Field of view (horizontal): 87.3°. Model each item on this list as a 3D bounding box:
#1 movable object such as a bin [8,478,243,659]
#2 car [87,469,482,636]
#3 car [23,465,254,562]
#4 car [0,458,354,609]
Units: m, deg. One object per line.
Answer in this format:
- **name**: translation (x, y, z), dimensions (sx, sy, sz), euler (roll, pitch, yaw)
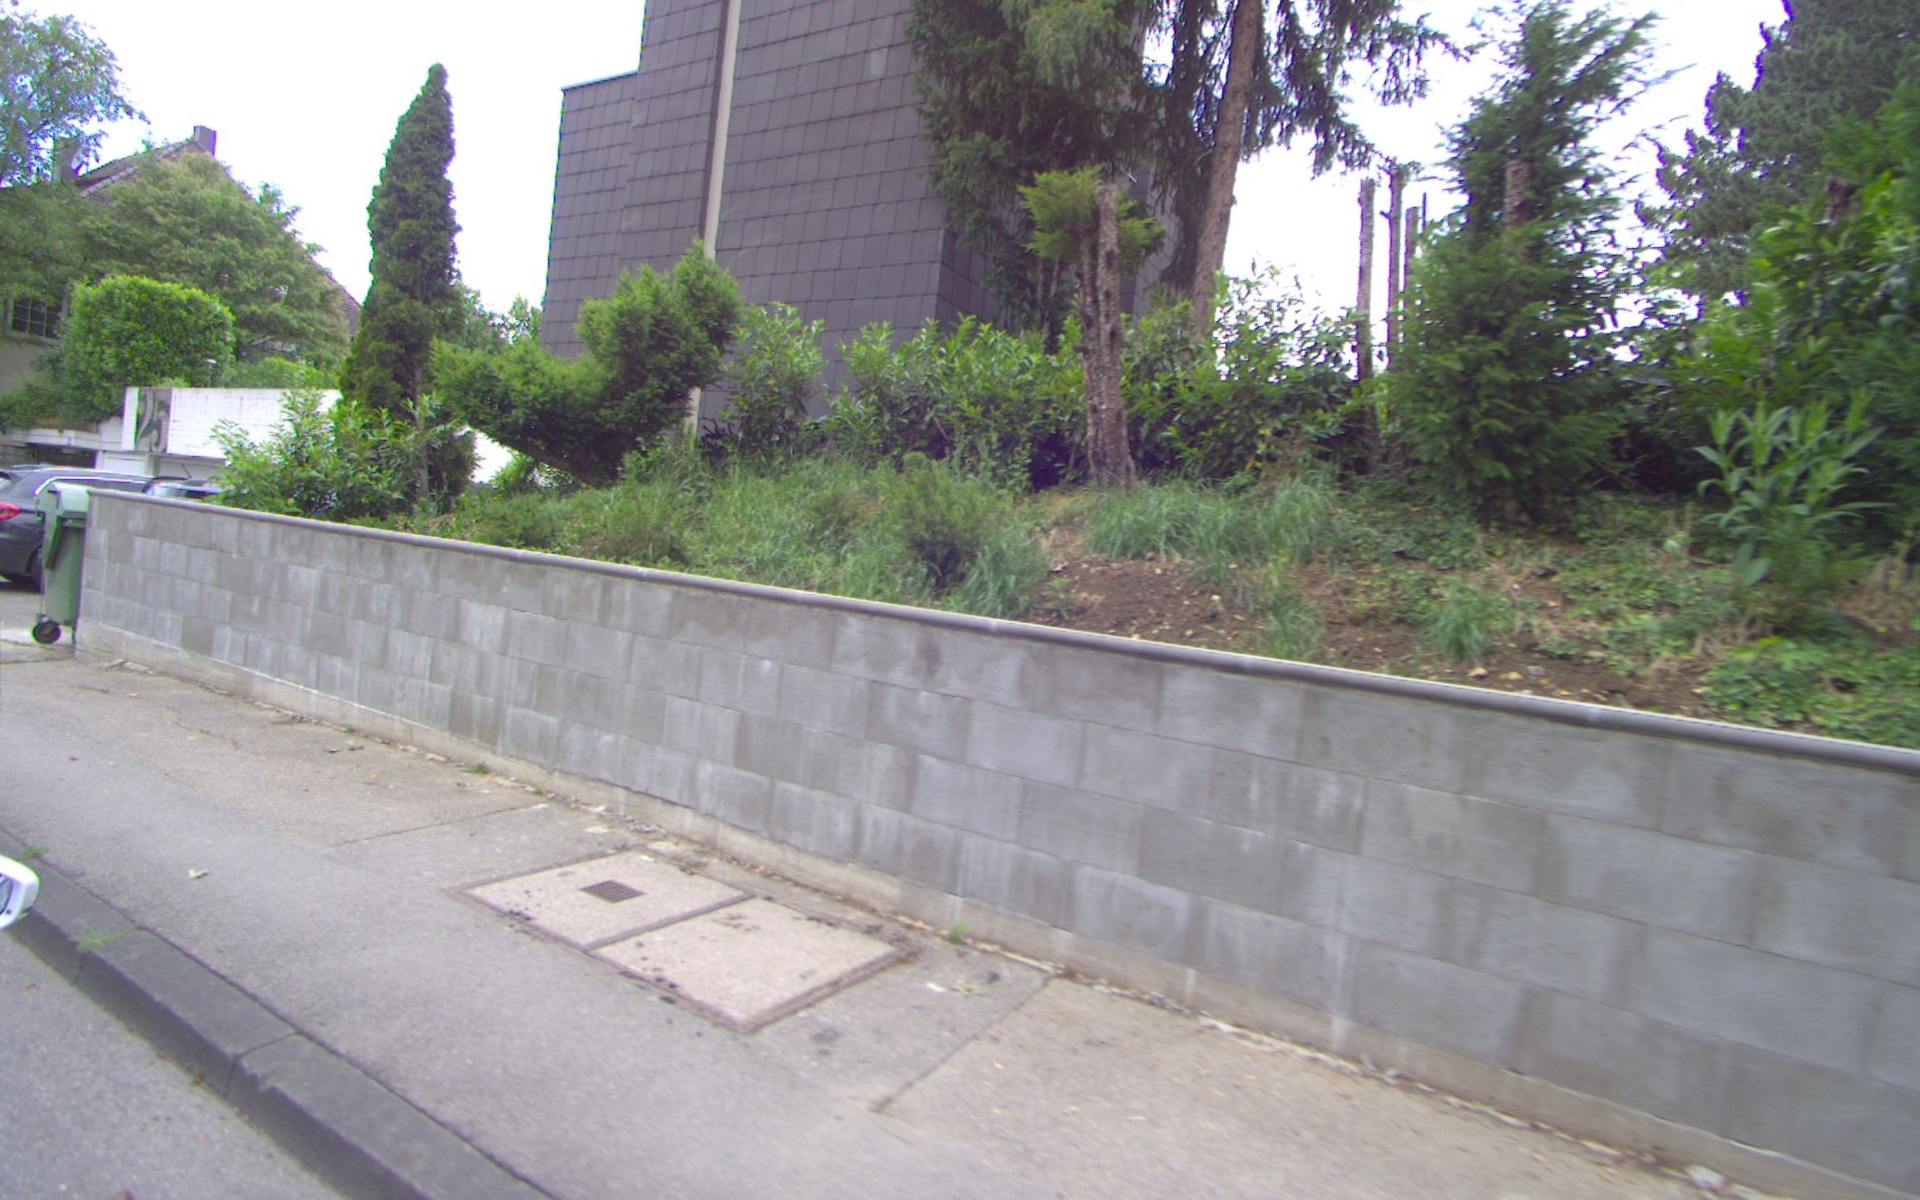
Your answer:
- **movable object such as a bin**: translation (-7.652, -0.272, 9.256), dimensions (1.161, 1.470, 1.300), euler (7, 2, 32)
- **car**: translation (-8.584, -0.530, 13.085), dimensions (1.801, 1.673, 3.797), euler (8, 1, 35)
- **car**: translation (-20.648, -2.132, 25.448), dimensions (1.936, 1.732, 3.995), euler (7, -1, 29)
- **car**: translation (-11.503, -0.898, 14.417), dimensions (1.800, 1.673, 4.395), euler (7, 1, 33)
